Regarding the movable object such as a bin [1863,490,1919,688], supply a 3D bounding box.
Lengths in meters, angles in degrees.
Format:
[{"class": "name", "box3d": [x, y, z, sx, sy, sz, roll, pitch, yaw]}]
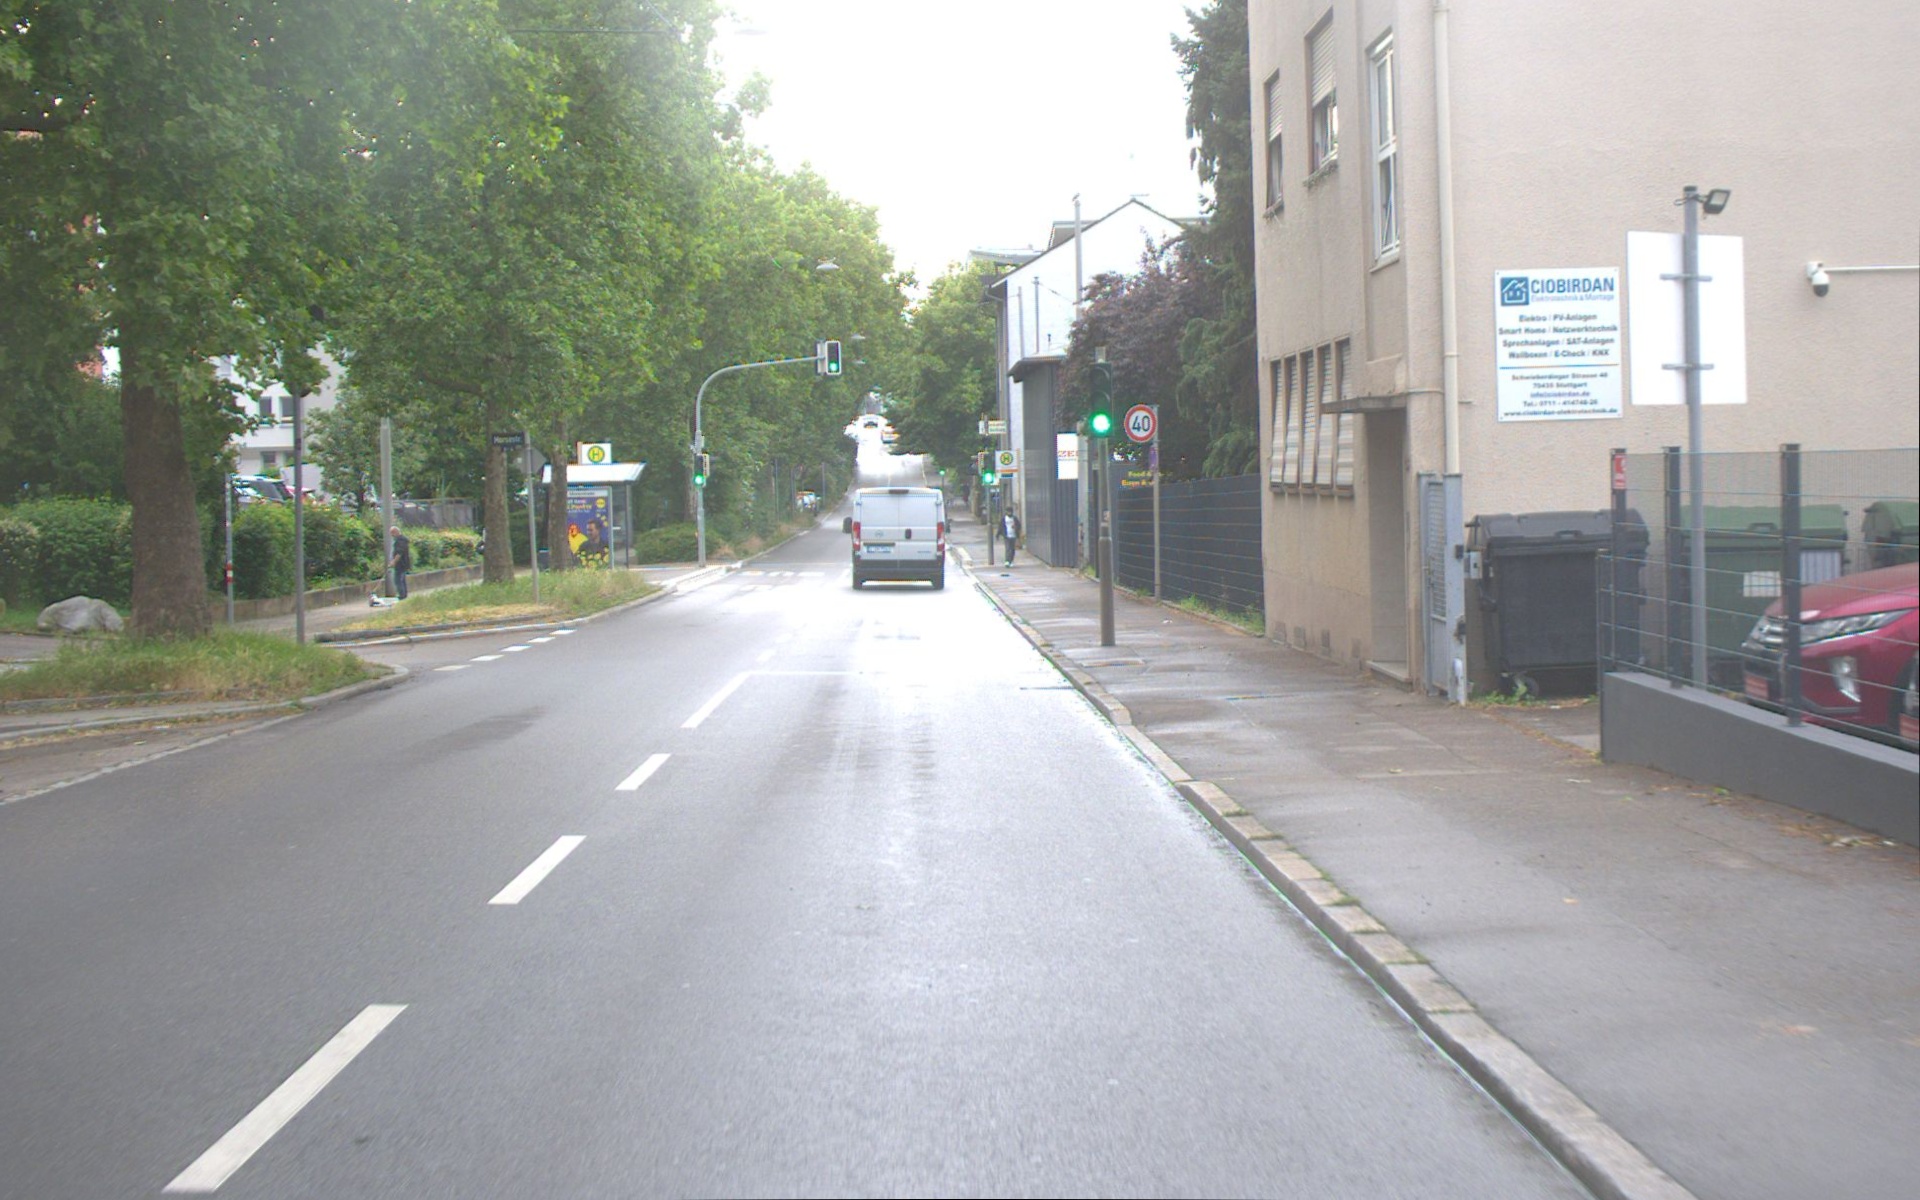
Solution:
[{"class": "movable object such as a bin", "box3d": [7.774, -0.110, 26.805, 1.110, 1.504, 1.010, -3, 0, -1]}]

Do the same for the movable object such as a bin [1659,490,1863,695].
[{"class": "movable object such as a bin", "box3d": [6.227, -0.057, 26.792, 1.234, 1.504, 1.111, -3, 0, -1]}]

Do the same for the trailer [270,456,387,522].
[{"class": "trailer", "box3d": [-16.017, -2.812, 87.244, 2.704, 1.639, 1.480, 0, 1, 0]}]

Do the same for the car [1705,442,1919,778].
[{"class": "car", "box3d": [6.390, 0.068, 18.724, 4.228, 1.730, 1.870, 1, 0, -1]}]

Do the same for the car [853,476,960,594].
[{"class": "car", "box3d": [-1.183, -1.430, 76.721, 2.282, 2.544, 4.000, -1, 0, -1]}]

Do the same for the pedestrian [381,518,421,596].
[{"class": "pedestrian", "box3d": [-11.693, -0.901, 71.890, 0.755, 1.605, 0.835, 1, 0, -5]}]

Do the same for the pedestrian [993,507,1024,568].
[{"class": "pedestrian", "box3d": [1.355, -1.738, 96.013, 0.742, 1.698, 0.902, 1, 0, -6]}]

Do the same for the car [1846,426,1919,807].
[{"class": "car", "box3d": [6.465, 0.094, 15.884, 4.228, 1.730, 1.870, 1, 0, -1]}]

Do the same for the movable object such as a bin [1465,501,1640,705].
[{"class": "movable object such as a bin", "box3d": [4.616, 0.021, 26.856, 1.110, 1.504, 0.987, -3, 0, -1]}]

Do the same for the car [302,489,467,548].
[{"class": "car", "box3d": [-16.883, -2.387, 101.002, 4.544, 1.666, 2.000, 1, 0, -2]}]
